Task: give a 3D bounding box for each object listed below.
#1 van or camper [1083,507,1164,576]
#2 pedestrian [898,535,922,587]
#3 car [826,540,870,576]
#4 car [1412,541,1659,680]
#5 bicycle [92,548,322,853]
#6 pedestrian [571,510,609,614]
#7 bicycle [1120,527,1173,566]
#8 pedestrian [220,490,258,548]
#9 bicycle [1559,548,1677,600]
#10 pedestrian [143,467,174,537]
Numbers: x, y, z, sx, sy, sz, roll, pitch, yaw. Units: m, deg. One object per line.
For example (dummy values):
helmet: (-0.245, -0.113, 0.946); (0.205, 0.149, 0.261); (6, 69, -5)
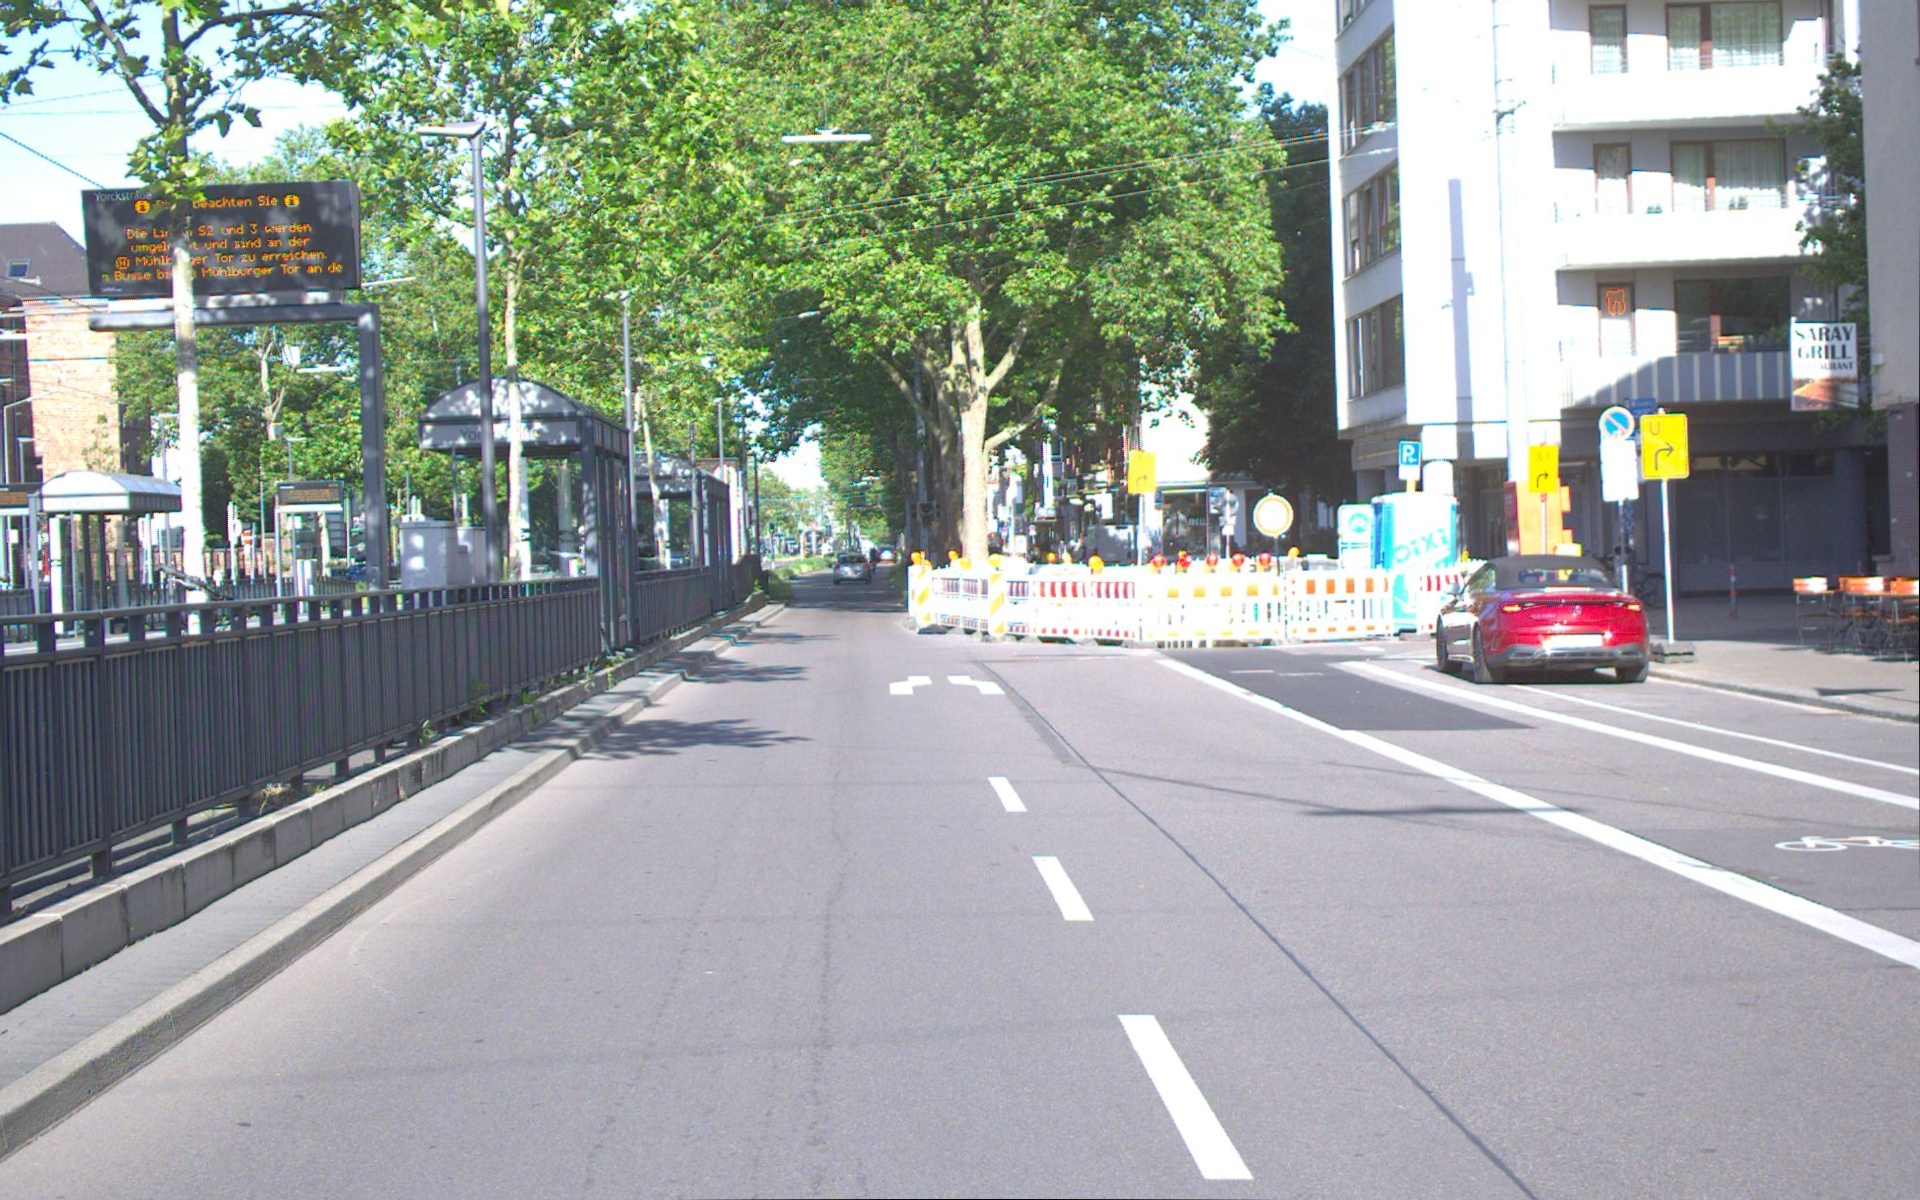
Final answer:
van or camper: (5.597, -2.004, 118.103); (2.291, 2.279, 5.823); (-1, 1, -2)
pedestrian: (-1.648, -1.265, 112.371); (0.712, 1.674, 0.772); (-1, 1, -3)
car: (-5.333, -2.025, 163.911); (2.021, 1.656, 4.000); (-1, 1, -2)
car: (6.471, 0.067, 39.209); (1.872, 1.438, 5.159); (-1, 1, -1)
bicycle: (-3.656, 0.444, 16.854); (0.639, 1.374, 2.170); (-1, 1, -1)
pedestrian: (-7.198, -0.748, 66.936); (0.667, 2.007, 0.716); (-1, 1, -4)
bicycle: (6.196, -1.779, 114.269); (1.603, 1.259, 0.963); (-2, 1, -6)
pedestrian: (-21.779, -2.443, 103.835); (0.953, 1.730, 0.730); (-1, 1, 1)
bicycle: (12.290, -0.488, 64.195); (2.030, 0.940, 1.016); (-1, 1, 18)
pedestrian: (-23.288, -2.833, 99.859); (0.662, 2.007, 0.860); (-2, 1, -2)
